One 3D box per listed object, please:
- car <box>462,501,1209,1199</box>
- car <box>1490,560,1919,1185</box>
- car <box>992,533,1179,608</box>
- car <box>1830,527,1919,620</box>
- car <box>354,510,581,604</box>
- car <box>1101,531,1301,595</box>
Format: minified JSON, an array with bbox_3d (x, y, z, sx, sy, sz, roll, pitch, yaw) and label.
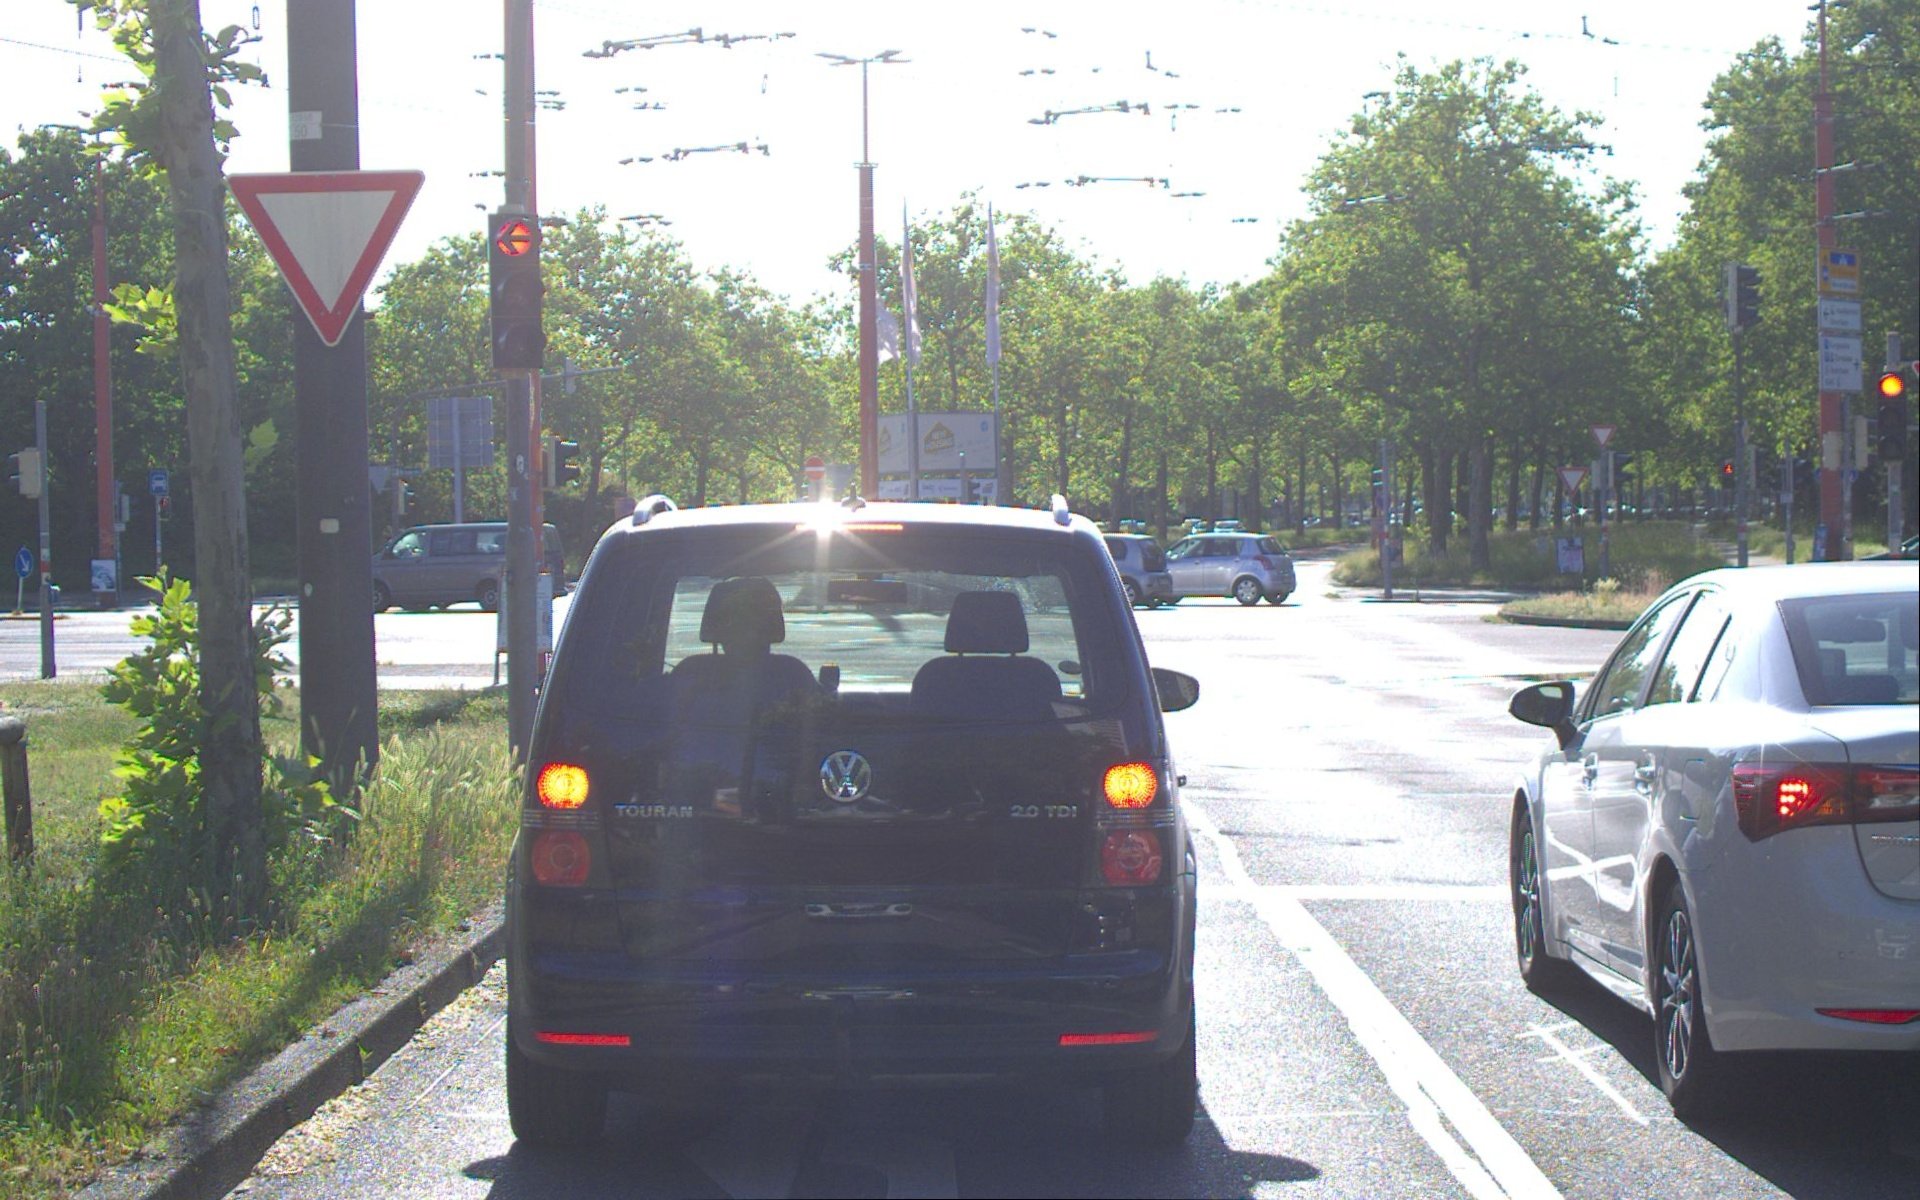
[{"bbox_3d":[-0.313,0.551,9.820,1.700,1.616,3.897,0,1,-1],"label":"car"},{"bbox_3d":[2.716,0.620,10.118,1.720,1.433,4.198,1,1,1],"label":"car"},{"bbox_3d":[2.475,-0.579,67.944,3.397,1.452,1.463,0,1,21],"label":"car"},{"bbox_3d":[17.358,-0.474,59.867,4.028,1.590,1.998,0,1,23],"label":"car"},{"bbox_3d":[-10.819,-0.938,75.521,4.576,2.007,1.997,0,1,24],"label":"car"},{"bbox_3d":[5.024,-0.773,71.683,3.833,1.260,1.601,1,1,23],"label":"car"}]
